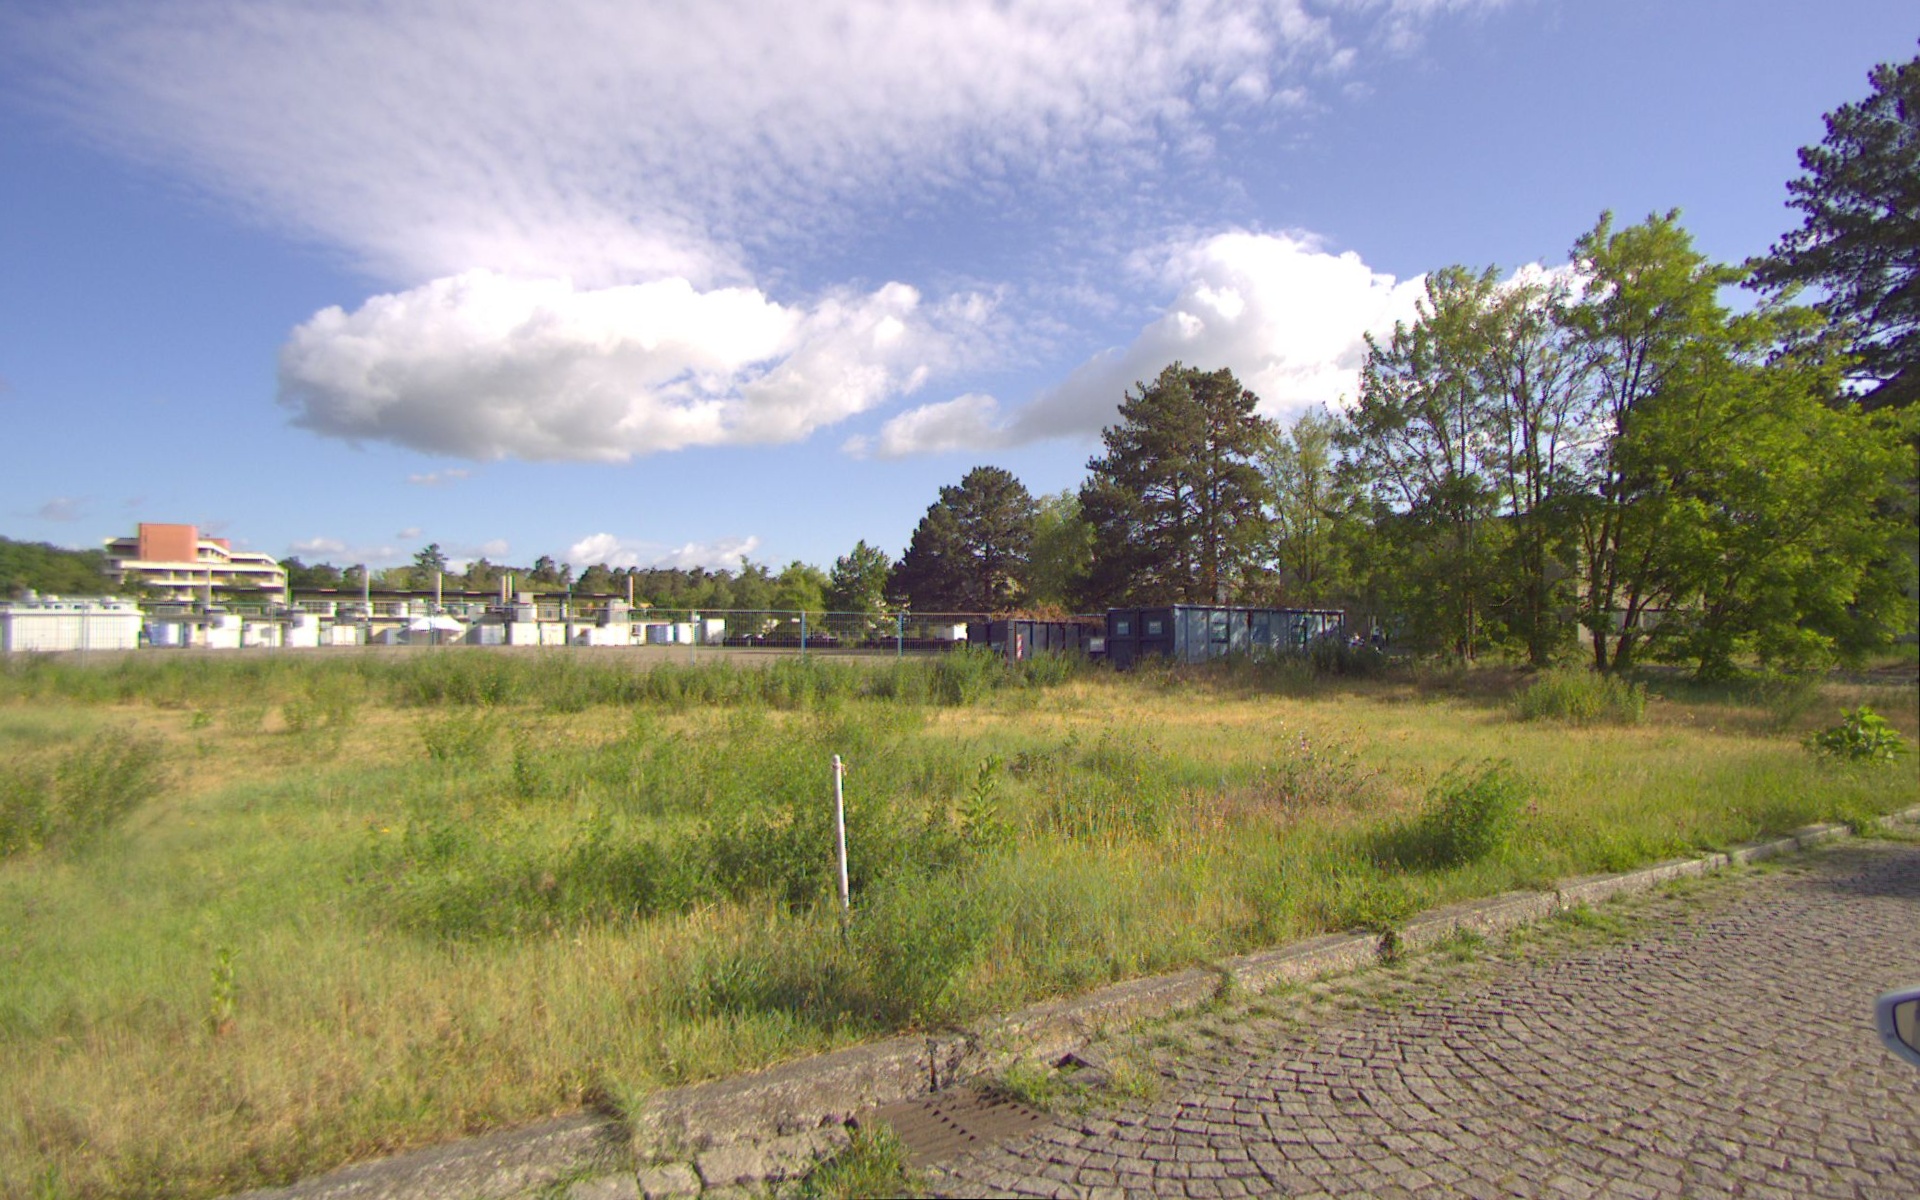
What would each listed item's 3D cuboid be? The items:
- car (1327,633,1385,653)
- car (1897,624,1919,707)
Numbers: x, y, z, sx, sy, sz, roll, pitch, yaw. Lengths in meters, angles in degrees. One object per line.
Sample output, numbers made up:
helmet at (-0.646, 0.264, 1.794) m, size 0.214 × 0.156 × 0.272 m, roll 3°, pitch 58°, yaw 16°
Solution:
car at (28.871, 3.148, 73.250) m, size 3.953 × 1.452 × 1.894 m, roll 2°, pitch -2°, yaw -30°
car at (19.115, 1.236, 17.551) m, size 1.628 × 1.507 × 3.724 m, roll 1°, pitch 0°, yaw -33°
